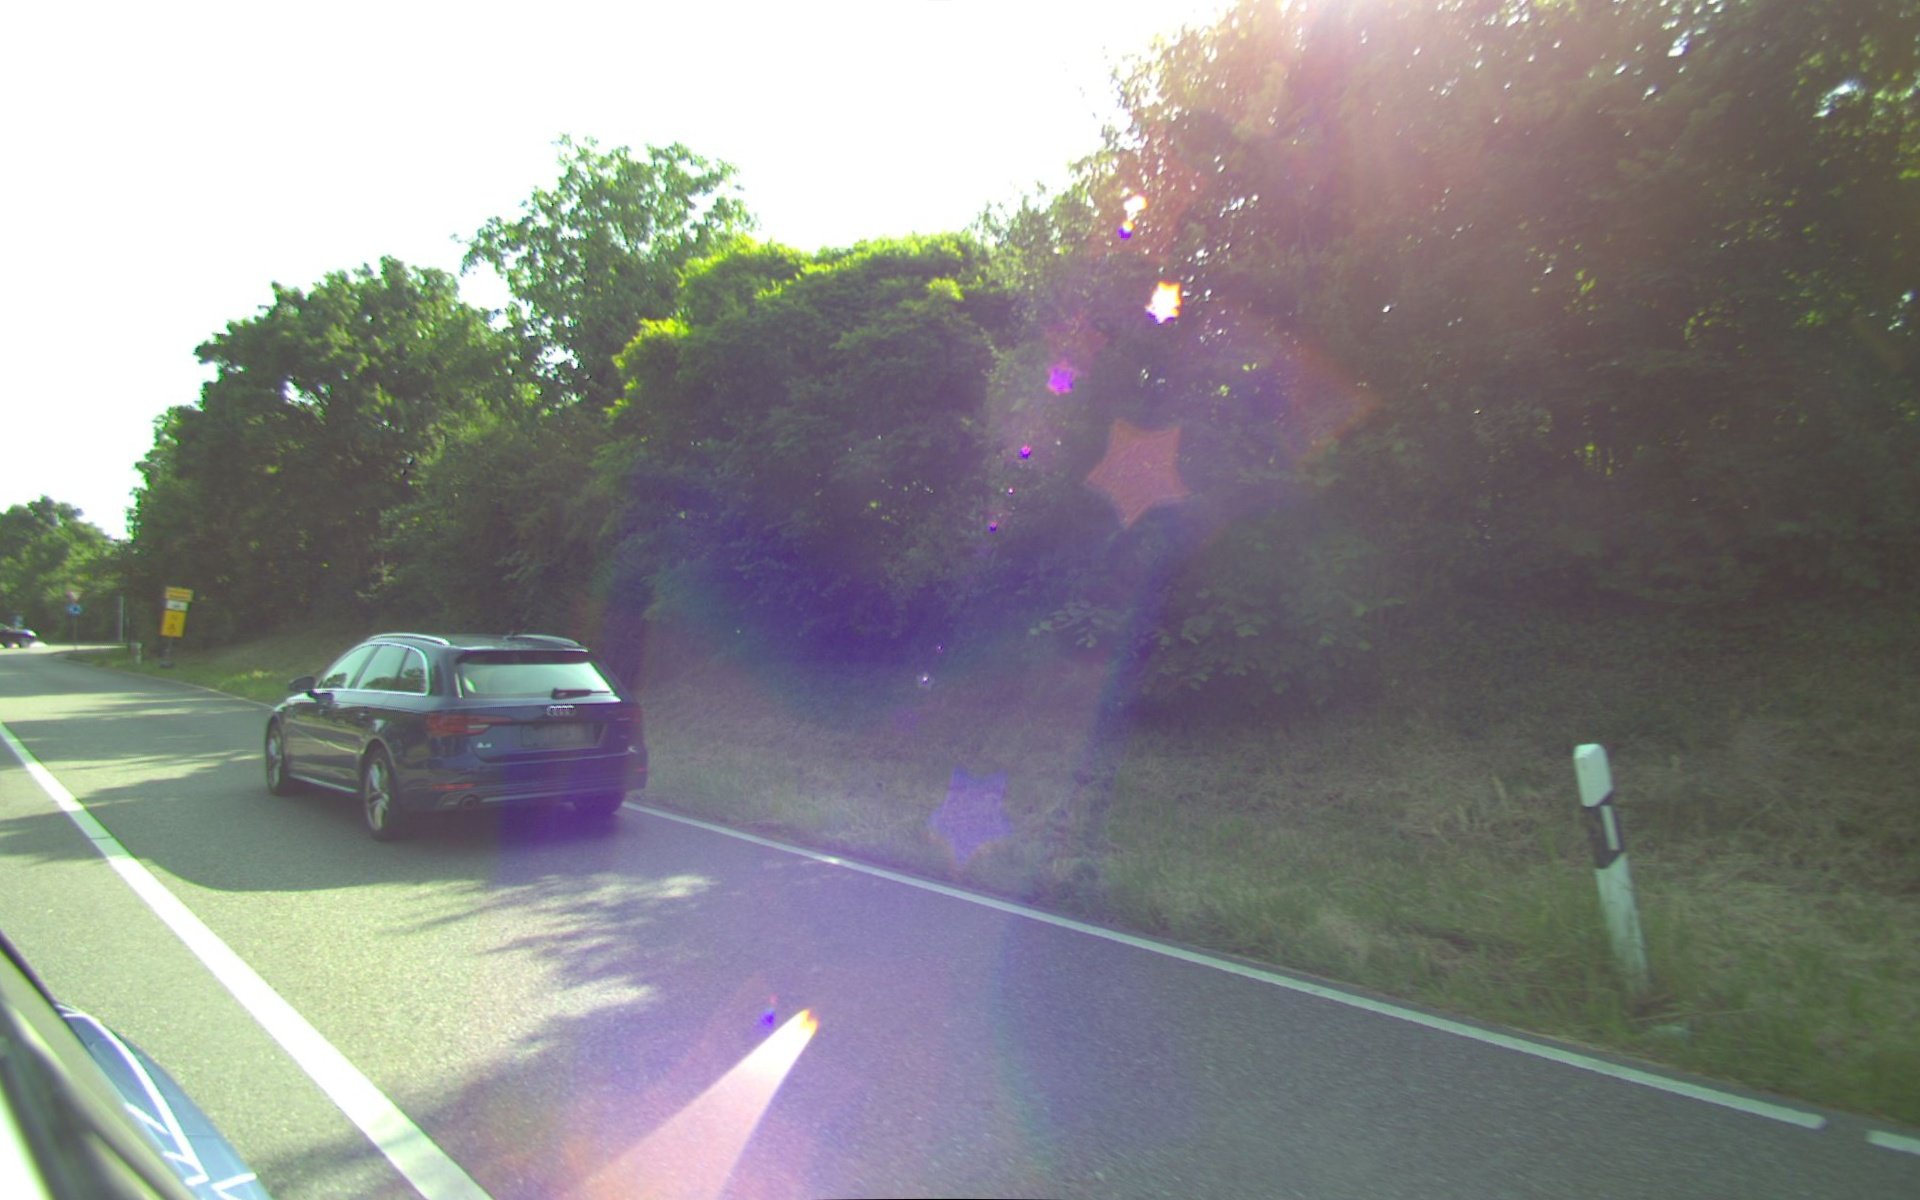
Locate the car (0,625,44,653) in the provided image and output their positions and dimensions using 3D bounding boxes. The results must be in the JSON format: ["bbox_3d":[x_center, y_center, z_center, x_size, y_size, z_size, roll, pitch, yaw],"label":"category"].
[{"bbox_3d":[-56.800,2.286,59.188,1.952,1.614,4.558,-2,-2,40],"label":"car"}]

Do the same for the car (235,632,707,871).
[{"bbox_3d":[-4.209,1.010,8.334,4.575,1.434,1.850,-2,-4,42],"label":"car"}]
